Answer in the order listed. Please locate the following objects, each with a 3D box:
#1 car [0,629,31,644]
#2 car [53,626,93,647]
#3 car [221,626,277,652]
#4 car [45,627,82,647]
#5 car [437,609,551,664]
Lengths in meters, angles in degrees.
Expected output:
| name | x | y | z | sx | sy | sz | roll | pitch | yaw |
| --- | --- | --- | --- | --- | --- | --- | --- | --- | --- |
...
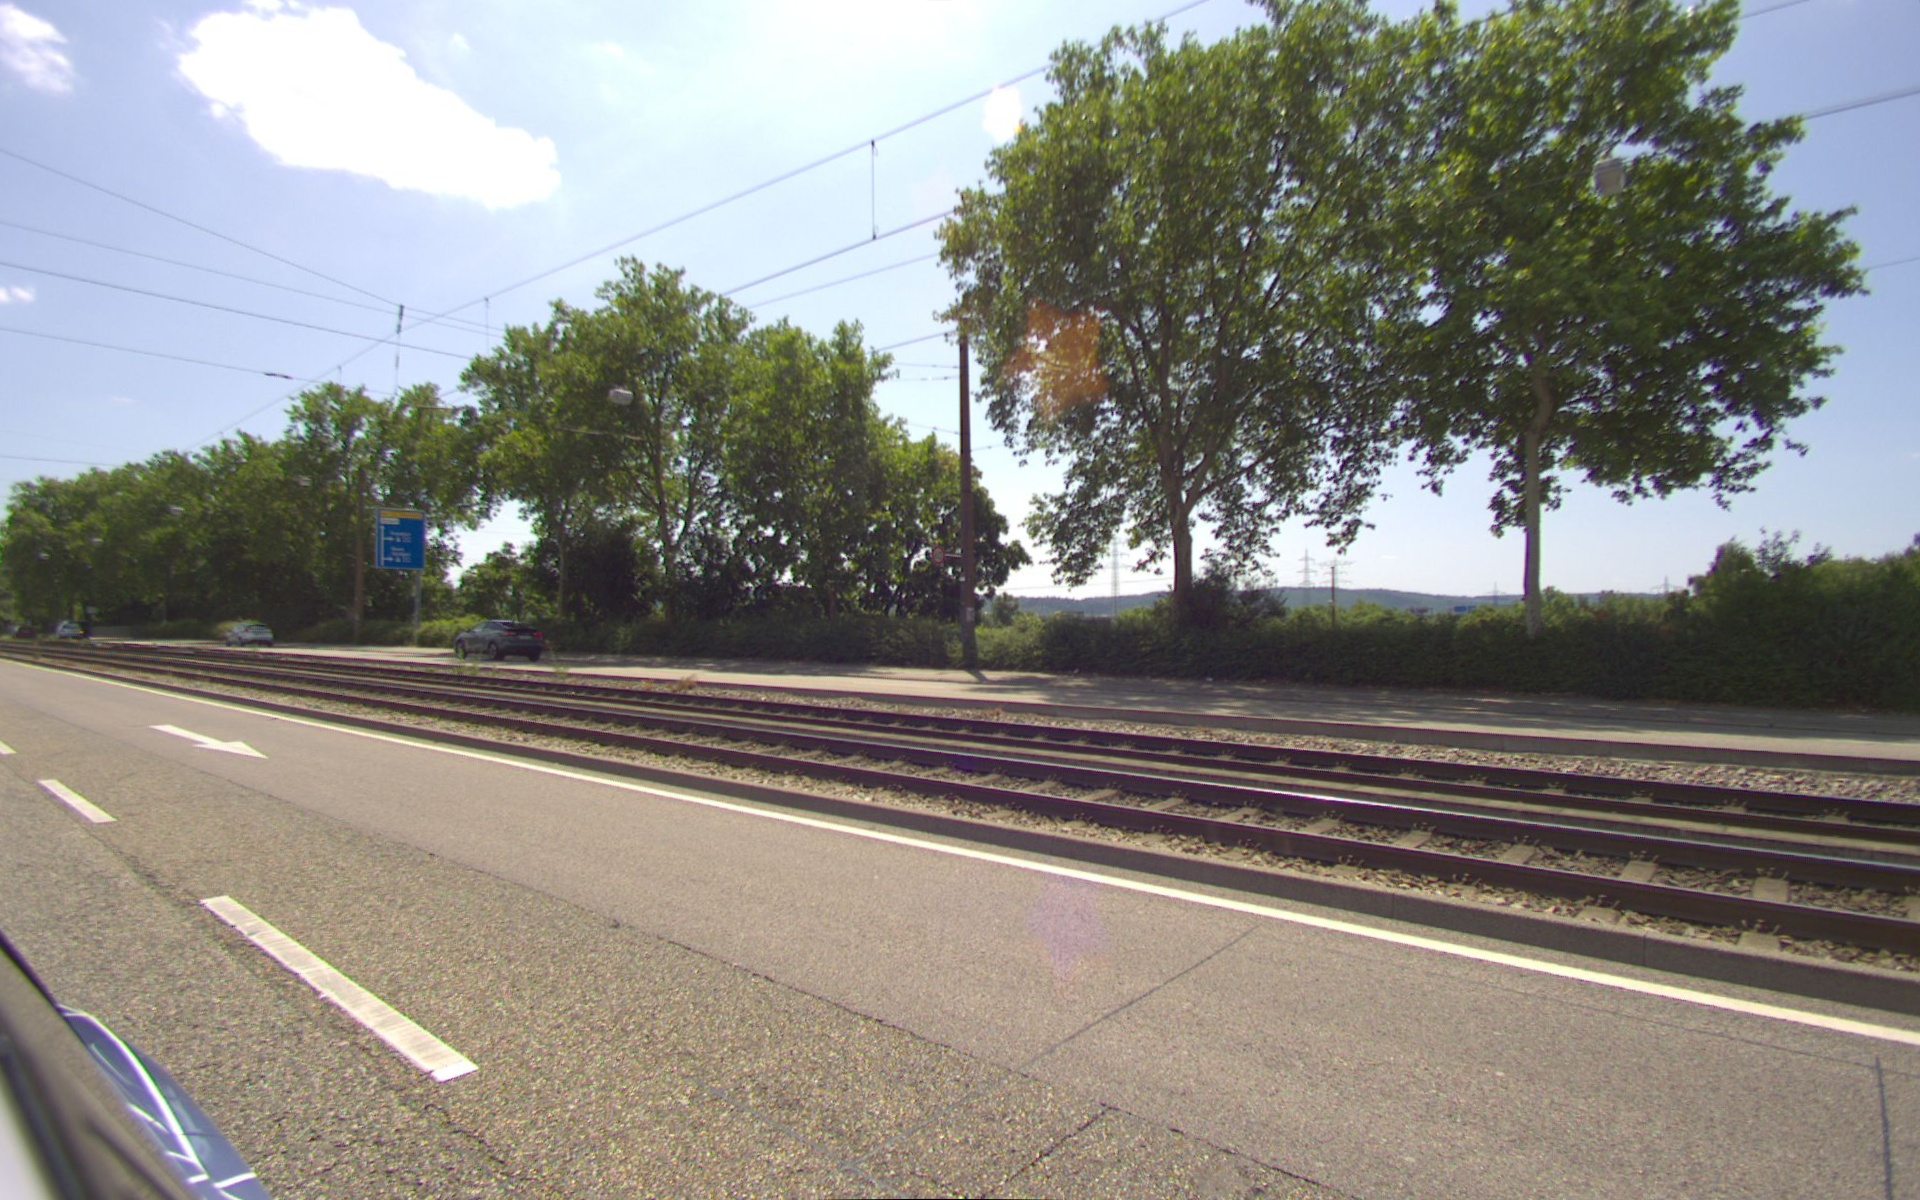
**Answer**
| name | x | y | z | sx | sy | sz | roll | pitch | yaw |
| --- | --- | --- | --- | --- | --- | --- | --- | --- | --- |
| car | -109.146 | 4.197 | 116.959 | 4.463 | 1.683 | 1.974 | -1 | -4 | 39 |
| car | -84.192 | 3.471 | 96.038 | 4.965 | 1.845 | 1.973 | -2 | -4 | 40 |
| car | -42.653 | 2.328 | 60.718 | 3.881 | 1.427 | 1.803 | -1 | -4 | 41 |
| car | -76.524 | 3.182 | 86.373 | 4.055 | 1.596 | 1.668 | -2 | -4 | 40 |
| car | -17.888 | 1.392 | 38.767 | 4.401 | 1.933 | 1.976 | -1 | -5 | 36 |
